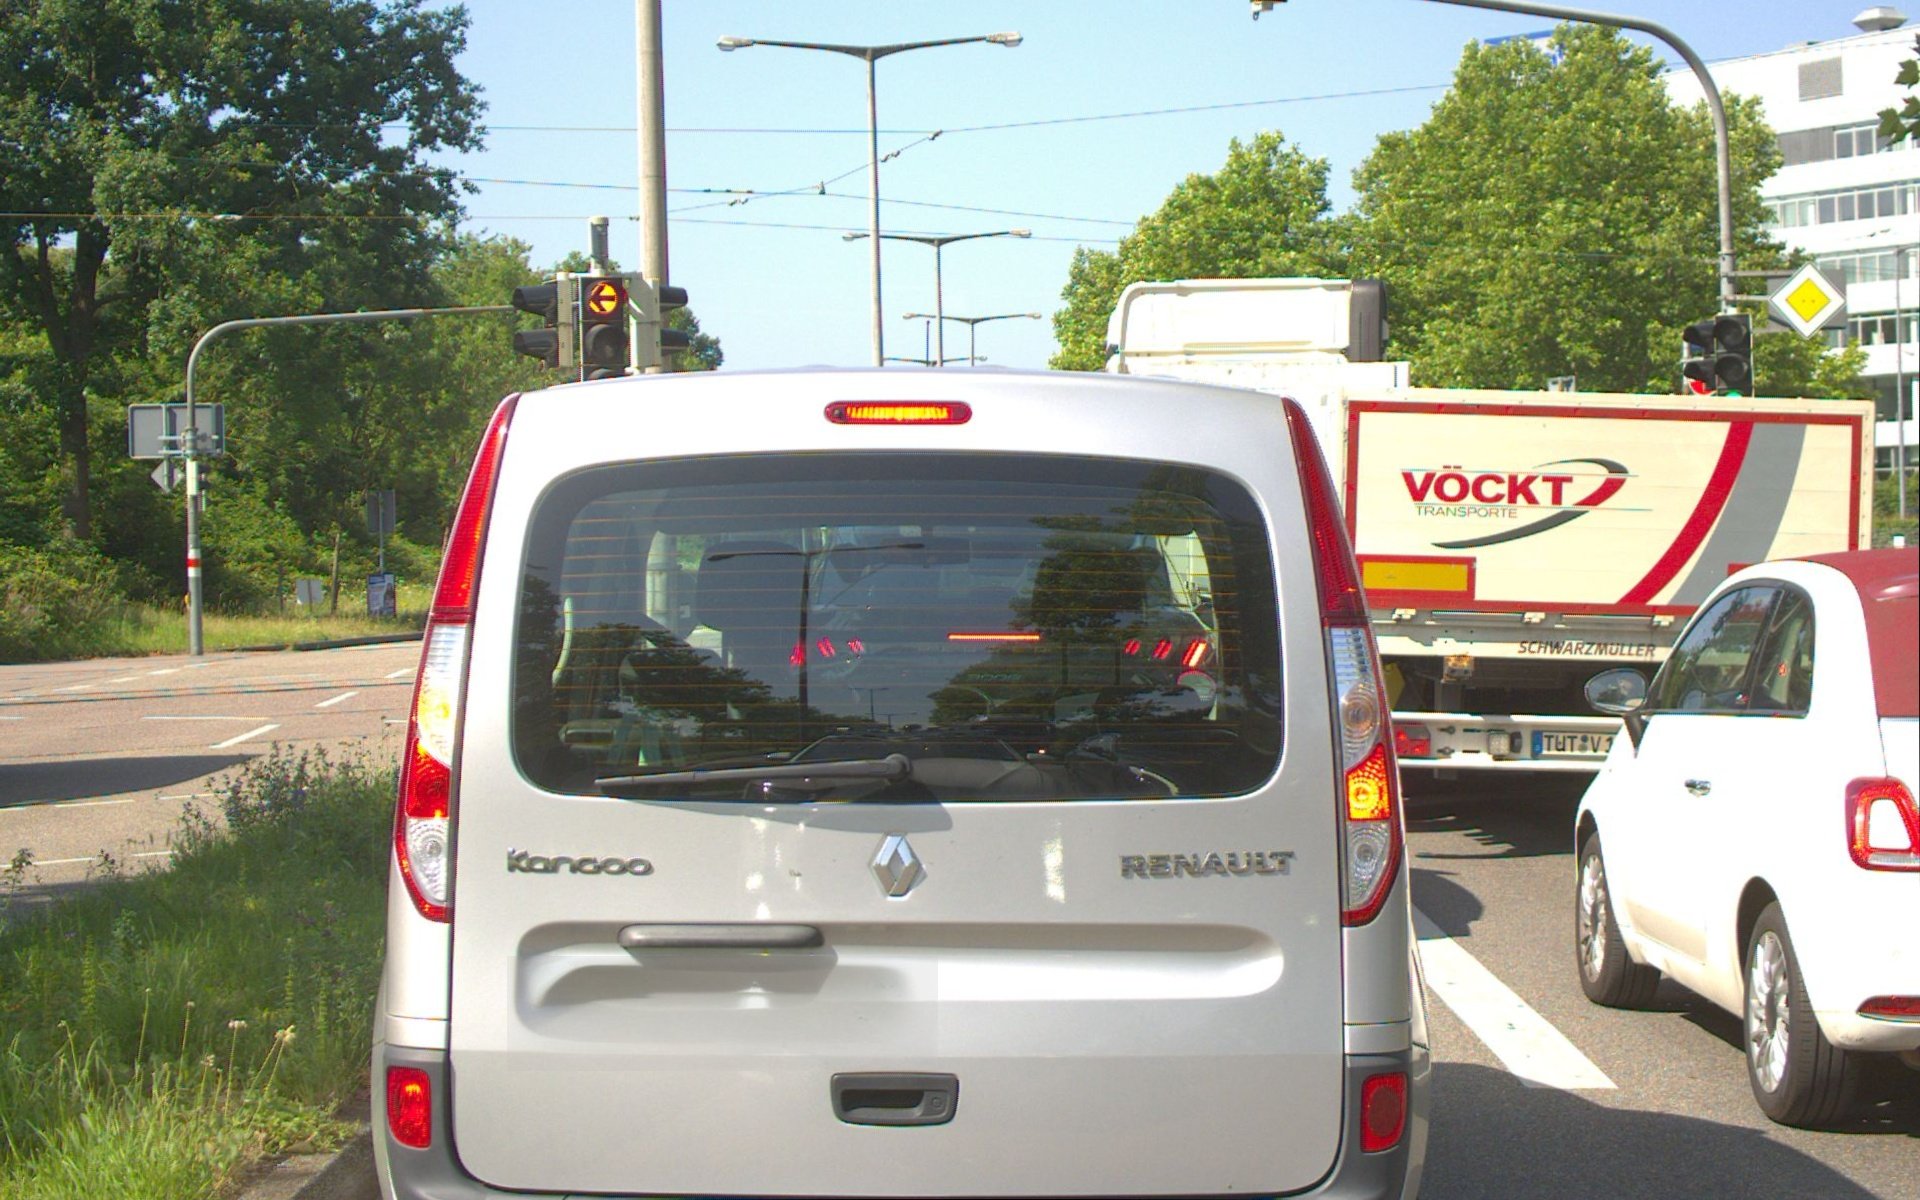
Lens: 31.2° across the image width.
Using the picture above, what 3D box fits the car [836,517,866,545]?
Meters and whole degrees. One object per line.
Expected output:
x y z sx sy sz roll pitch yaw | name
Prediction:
-7.935 -5.028 250.767 1.888 2.007 4.000 1 1 2 | car

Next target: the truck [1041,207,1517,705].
2.444 -1.098 28.966 2.910 3.630 7.190 1 1 -3 | truck

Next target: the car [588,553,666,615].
-8.831 -0.441 91.525 1.699 1.503 4.000 -1 2 -1 | car

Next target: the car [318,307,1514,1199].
-0.092 0.466 7.191 1.786 1.831 4.000 1 1 -1 | car

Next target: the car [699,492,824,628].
-3.976 -0.804 69.671 1.994 2.598 5.133 -1 0 2 | car

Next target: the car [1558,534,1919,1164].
2.803 0.591 9.887 1.538 1.509 3.260 1 1 -1 | car

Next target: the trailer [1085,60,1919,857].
2.750 -0.711 22.097 2.900 3.610 12.687 1 1 -2 | trailer
